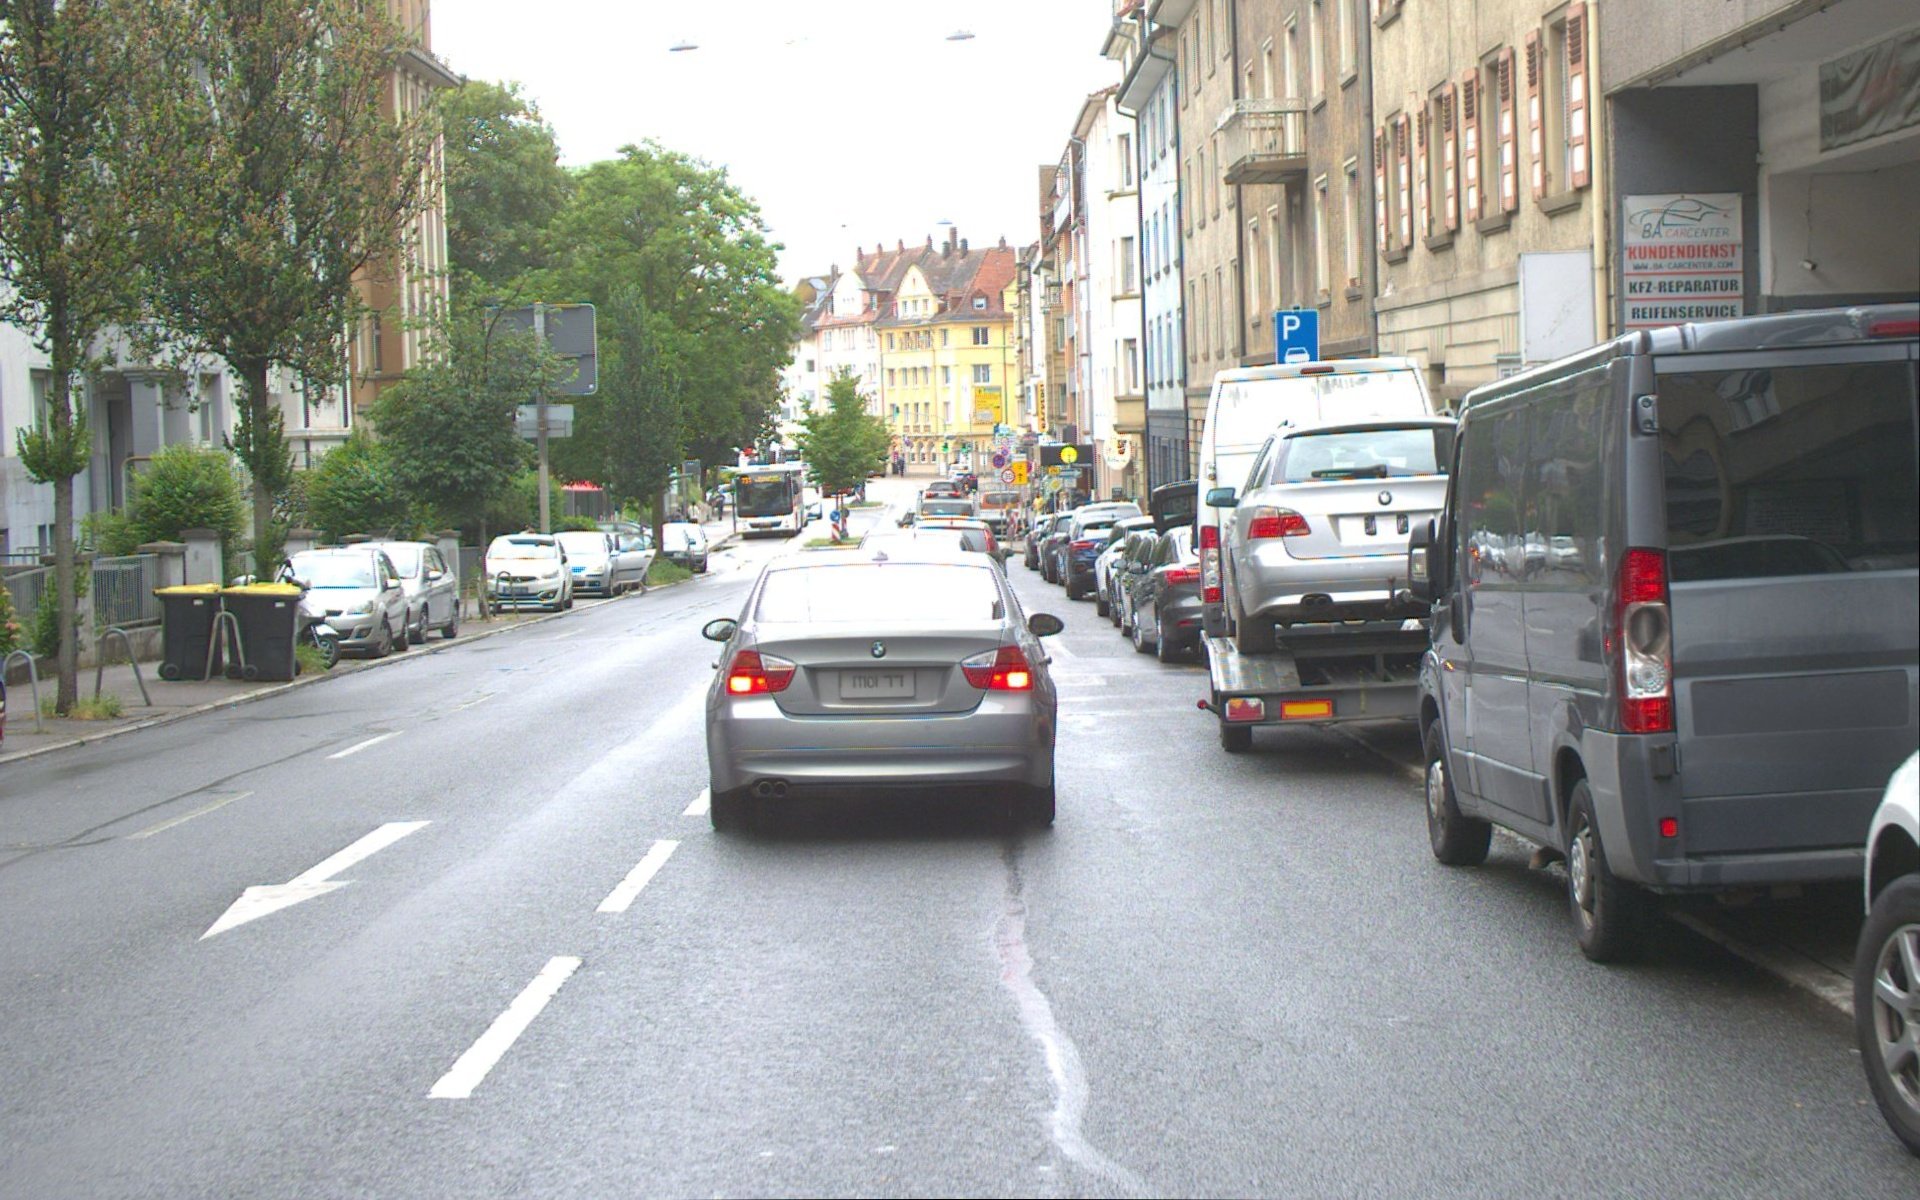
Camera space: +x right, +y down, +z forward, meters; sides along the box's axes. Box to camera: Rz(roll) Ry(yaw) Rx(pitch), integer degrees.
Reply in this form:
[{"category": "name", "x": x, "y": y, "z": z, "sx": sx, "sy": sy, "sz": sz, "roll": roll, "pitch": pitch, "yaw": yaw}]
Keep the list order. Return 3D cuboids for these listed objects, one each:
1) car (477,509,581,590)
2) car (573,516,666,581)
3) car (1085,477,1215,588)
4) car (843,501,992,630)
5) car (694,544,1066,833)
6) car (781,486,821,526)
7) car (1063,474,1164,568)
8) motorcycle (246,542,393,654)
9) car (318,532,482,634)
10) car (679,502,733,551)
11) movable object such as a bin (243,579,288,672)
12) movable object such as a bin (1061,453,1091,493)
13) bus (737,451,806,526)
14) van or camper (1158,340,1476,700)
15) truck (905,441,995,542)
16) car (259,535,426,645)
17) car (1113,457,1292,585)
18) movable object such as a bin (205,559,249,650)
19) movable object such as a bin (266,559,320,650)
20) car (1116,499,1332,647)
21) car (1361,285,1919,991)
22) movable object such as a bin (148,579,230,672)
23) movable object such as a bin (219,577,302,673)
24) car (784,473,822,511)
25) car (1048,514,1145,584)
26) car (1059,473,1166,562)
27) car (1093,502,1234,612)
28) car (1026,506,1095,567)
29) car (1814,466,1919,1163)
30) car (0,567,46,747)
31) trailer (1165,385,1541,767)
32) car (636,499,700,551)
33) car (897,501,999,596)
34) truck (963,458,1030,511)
[{"category": "car", "x": -8.411, "y": -0.992, "z": 67.325, "sx": 1.646, "sy": 1.503, "sz": 3.797, "roll": -1, "pitch": 1, "yaw": -2}, {"category": "car", "x": -7.651, "y": -1.179, "z": 77.547, "sx": 1.682, "sy": 1.385, "sz": 3.909, "roll": -1, "pitch": 2, "yaw": 0}, {"category": "car", "x": 2.930, "y": -1.076, "z": 53.754, "sx": 1.632, "sy": 1.633, "sz": 4.196, "roll": 1, "pitch": 2, "yaw": -2}, {"category": "car", "x": -0.529, "y": -0.416, "z": 40.085, "sx": 1.601, "sy": 1.415, "sz": 3.288, "roll": 1, "pitch": 1, "yaw": -3}, {"category": "car", "x": -0.391, "y": 0.391, "z": 17.851, "sx": 1.756, "sy": 1.358, "sz": 3.165, "roll": 0, "pitch": 1, "yaw": 0}, {"category": "car", "x": -8.380, "y": -4.961, "z": 181.632, "sx": 1.993, "sy": 2.007, "sz": 4.000, "roll": 1, "pitch": 1, "yaw": -2}, {"category": "car", "x": 3.169, "y": -1.669, "z": 71.736, "sx": 1.790, "sy": 1.811, "sz": 4.080, "roll": -3, "pitch": 2, "yaw": -1}, {"category": "motorcycle", "x": -7.834, "y": -0.019, "z": 42.013, "sx": 1.809, "sy": 1.310, "sz": 0.740, "roll": -1, "pitch": 2, "yaw": 41}, {"category": "car", "x": -8.454, "y": -0.284, "z": 52.160, "sx": 1.601, "sy": 1.446, "sz": 3.887, "roll": -1, "pitch": 1, "yaw": 3}, {"category": "car", "x": -7.951, "y": -2.325, "z": 107.776, "sx": 1.631, "sy": 1.449, "sz": 3.840, "roll": -1, "pitch": 2, "yaw": -4}, {"category": "movable object such as a bin", "x": -8.009, "y": 0.295, "z": 39.651, "sx": 0.471, "sy": 1.054, "sz": 0.484, "roll": 1, "pitch": 1, "yaw": -9}, {"category": "movable object such as a bin", "x": 5.045, "y": -5.539, "z": 150.156, "sx": 1.122, "sy": 1.697, "sz": 1.434, "roll": -3, "pitch": 1, "yaw": -3}, {"category": "bus", "x": -8.523, "y": -5.009, "z": 156.516, "sx": 2.681, "sy": 3.189, "sz": 11.957, "roll": 1, "pitch": 1, "yaw": -1}, {"category": "van or camper", "x": 2.941, "y": -0.732, "z": 29.741, "sx": 2.184, "sy": 2.690, "sz": 6.420, "roll": -2, "pitch": 2, "yaw": 2}, {"category": "truck", "x": -0.295, "y": -2.805, "z": 90.103, "sx": 2.216, "sy": 2.535, "sz": 4.780, "roll": 1, "pitch": 1, "yaw": -1}, {"category": "car", "x": -8.377, "y": -0.165, "z": 46.897, "sx": 1.600, "sy": 1.392, "sz": 3.888, "roll": -2, "pitch": 1, "yaw": -1}, {"category": "car", "x": 3.014, "y": -0.995, "z": 43.542, "sx": 1.777, "sy": 1.474, "sz": 4.588, "roll": -2, "pitch": 1, "yaw": -2}, {"category": "movable object such as a bin", "x": -8.627, "y": 0.049, "z": 40.456, "sx": 0.471, "sy": 1.054, "sz": 0.484, "roll": 1, "pitch": 1, "yaw": -9}, {"category": "movable object such as a bin", "x": -7.840, "y": 0.051, "z": 40.413, "sx": 0.524, "sy": 1.054, "sz": 0.483, "roll": 1, "pitch": 1, "yaw": 1}, {"category": "car", "x": 2.839, "y": -0.320, "z": 37.761, "sx": 1.777, "sy": 1.474, "sz": 4.190, "roll": -2, "pitch": 1, "yaw": -3}, {"category": "car", "x": 3.053, "y": 0.017, "z": 13.417, "sx": 2.153, "sy": 2.141, "sz": 5.511, "roll": -3, "pitch": 2, "yaw": -1}, {"category": "movable object such as a bin", "x": -8.848, "y": 0.291, "z": 39.482, "sx": 0.825, "sy": 1.054, "sz": 0.483, "roll": 0, "pitch": 1, "yaw": 1}, {"category": "movable object such as a bin", "x": -7.929, "y": 0.279, "z": 38.966, "sx": 0.825, "sy": 1.054, "sz": 0.483, "roll": 1, "pitch": 1, "yaw": 1}, {"category": "car", "x": -8.784, "y": -6.037, "z": 192.516, "sx": 1.993, "sy": 2.007, "sz": 4.000, "roll": 1, "pitch": 1, "yaw": -1}, {"category": "car", "x": 3.079, "y": -1.193, "z": 78.227, "sx": 1.840, "sy": 1.404, "sz": 4.388, "roll": -4, "pitch": 2, "yaw": -1}, {"category": "car", "x": 2.862, "y": -1.592, "z": 65.257, "sx": 1.790, "sy": 1.542, "sz": 4.226, "roll": -3, "pitch": 2, "yaw": 0}, {"category": "car", "x": 2.864, "y": -0.638, "z": 49.019, "sx": 1.632, "sy": 1.473, "sz": 3.735, "roll": 1, "pitch": 2, "yaw": -2}, {"category": "car", "x": 2.629, "y": -1.694, "z": 90.602, "sx": 1.583, "sy": 1.424, "sz": 3.595, "roll": -4, "pitch": 2, "yaw": 0}, {"category": "car", "x": 3.114, "y": 0.505, "z": 6.620, "sx": 1.746, "sy": 1.634, "sz": 4.274, "roll": -3, "pitch": 2, "yaw": -1}, {"category": "car", "x": -8.292, "y": 0.491, "z": 25.682, "sx": 1.679, "sy": 1.381, "sz": 4.603, "roll": -2, "pitch": 1, "yaw": 0}, {"category": "trailer", "x": 2.485, "y": -0.265, "z": 22.940, "sx": 1.994, "sy": 2.144, "sz": 5.072, "roll": -4, "pitch": 3, "yaw": 2}, {"category": "car", "x": -8.704, "y": -2.260, "z": 102.707, "sx": 1.653, "sy": 1.449, "sz": 3.943, "roll": -2, "pitch": 2, "yaw": -2}, {"category": "car", "x": -0.155, "y": -0.785, "z": 52.151, "sx": 1.435, "sy": 1.352, "sz": 3.762, "roll": 1, "pitch": 1, "yaw": 1}, {"category": "truck", "x": 1.499, "y": -4.788, "z": 143.057, "sx": 2.215, "sy": 2.109, "sz": 4.653, "roll": 2, "pitch": 1, "yaw": -6}]
